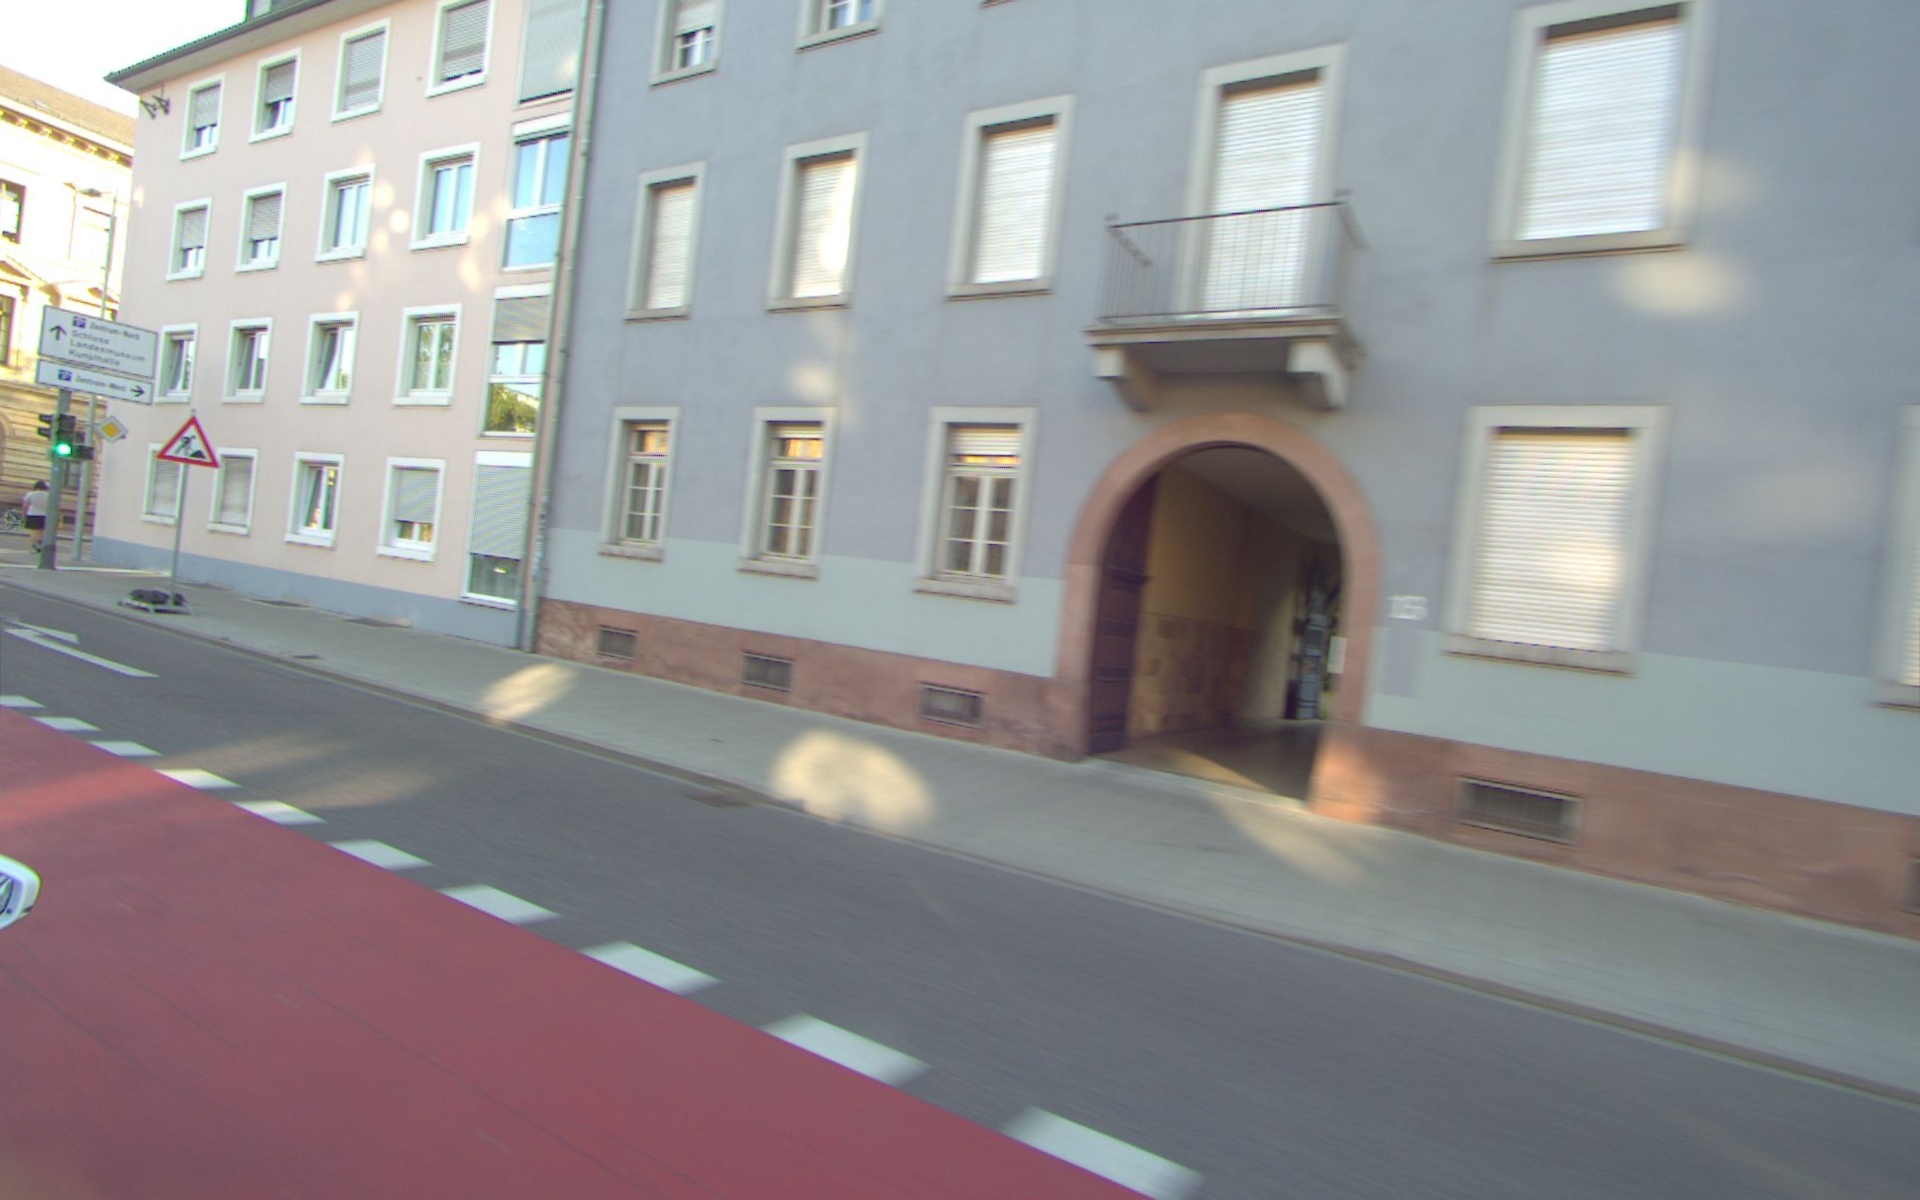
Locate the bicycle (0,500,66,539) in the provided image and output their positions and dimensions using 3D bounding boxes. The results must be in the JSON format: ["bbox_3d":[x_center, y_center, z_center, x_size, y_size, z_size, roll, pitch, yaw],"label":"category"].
[{"bbox_3d":[-36.390,-3.142,39.214,0.847,1.222,2.054,10,1,28],"label":"bicycle"}]

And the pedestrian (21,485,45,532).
[{"bbox_3d":[-38.296,-3.772,41.561,0.420,1.881,0.449,6,1,-11],"label":"pedestrian"}]

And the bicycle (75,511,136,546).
[{"bbox_3d":[-35.221,-2.948,41.484,0.684,1.158,1.726,10,1,28],"label":"bicycle"}]

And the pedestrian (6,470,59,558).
[{"bbox_3d":[-22.894,-2.126,24.839,0.783,2.038,0.982,6,1,-44],"label":"pedestrian"}]

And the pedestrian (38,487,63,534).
[{"bbox_3d":[-37.761,-3.703,41.773,0.531,1.881,0.616,6,1,-34],"label":"pedestrian"}]
